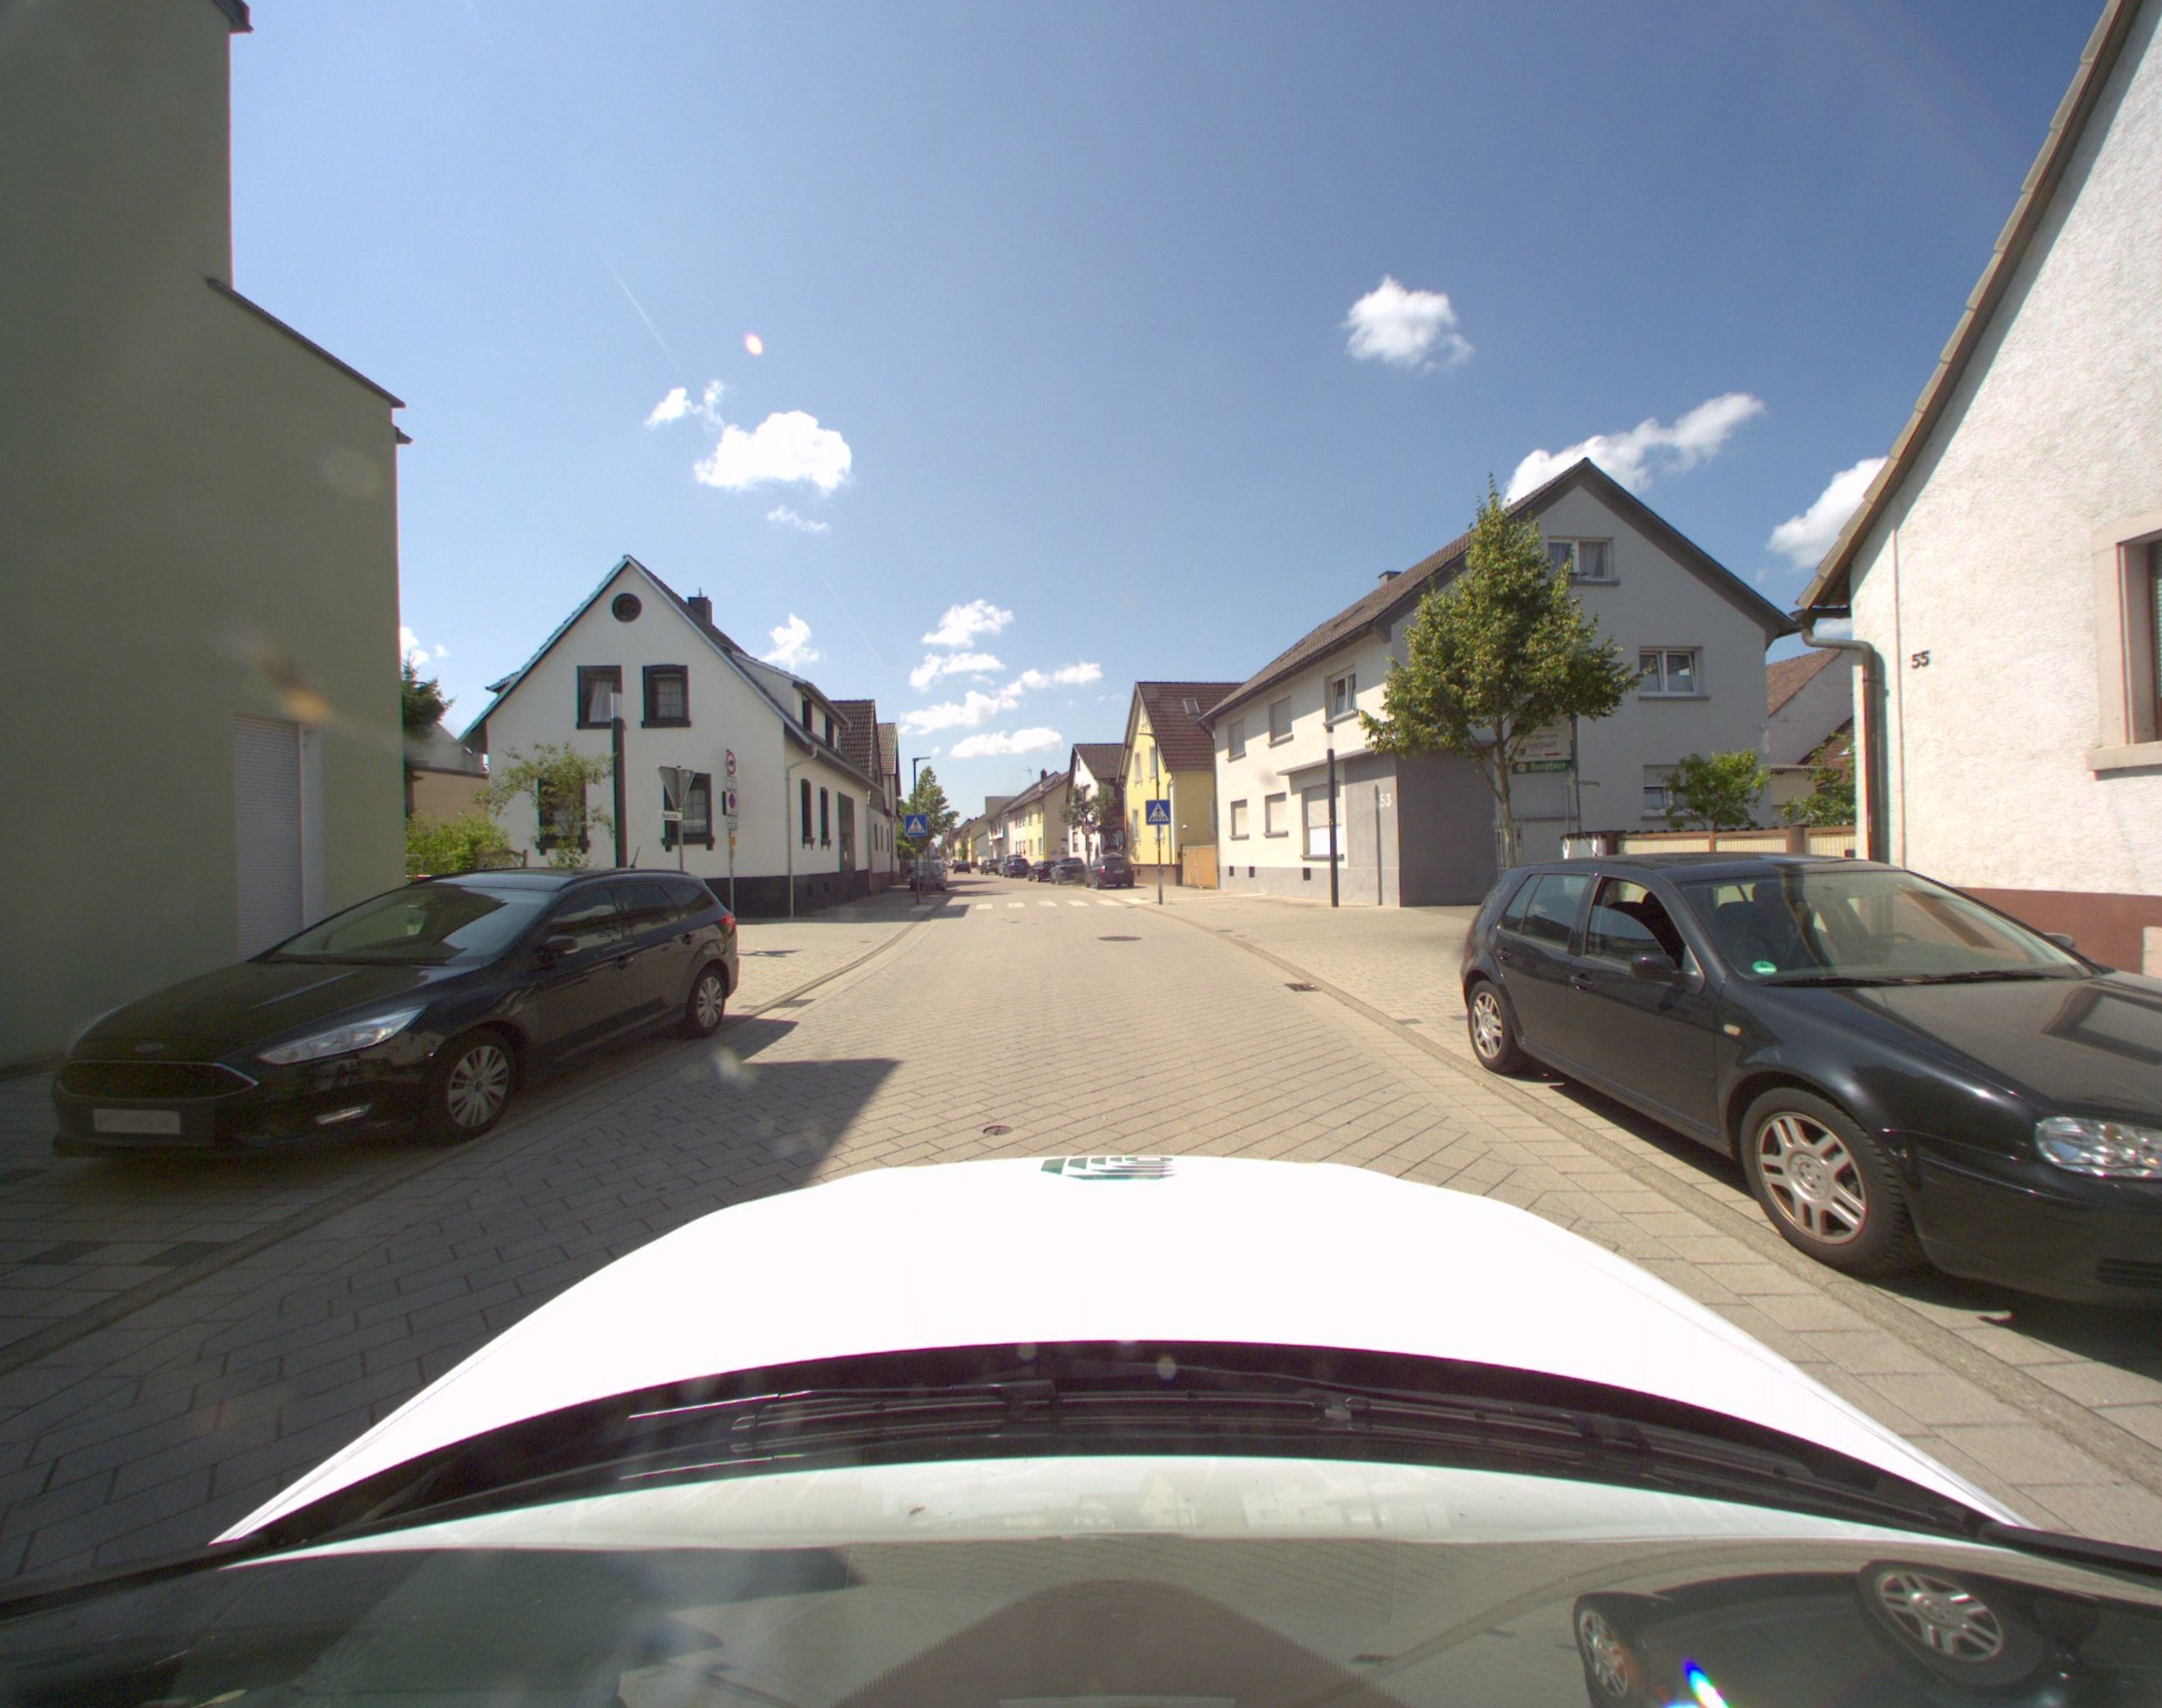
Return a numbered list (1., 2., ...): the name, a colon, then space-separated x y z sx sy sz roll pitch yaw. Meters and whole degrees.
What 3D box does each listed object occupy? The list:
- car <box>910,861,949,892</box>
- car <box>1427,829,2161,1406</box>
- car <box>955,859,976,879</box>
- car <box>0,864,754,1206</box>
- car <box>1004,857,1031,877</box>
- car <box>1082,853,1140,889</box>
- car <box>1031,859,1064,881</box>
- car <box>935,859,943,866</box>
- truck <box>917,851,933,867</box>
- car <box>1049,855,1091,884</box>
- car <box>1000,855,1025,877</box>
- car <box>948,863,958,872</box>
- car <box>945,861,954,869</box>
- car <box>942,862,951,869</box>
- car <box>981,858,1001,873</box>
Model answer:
1. car: -7.875 1.144 42.631 1.746 1.530 3.989 0 0 -7
2. car: 3.478 0.661 4.145 1.753 1.438 4.121 -3 0 2
3. car: -12.842 1.627 90.467 1.994 2.058 4.357 -2 0 -11
4. car: -4.178 0.845 5.842 1.806 1.490 4.279 0 0 2
5. car: -5.372 1.088 68.792 1.878 1.591 3.986 -2 0 -10
6. car: 1.347 0.793 38.387 1.829 1.471 4.260 -4 0 -10
7. car: -2.297 1.059 55.328 1.711 1.387 3.692 -2 0 -10
8. car: -33.860 2.036 193.604 1.689 1.452 3.776 -2 0 -13
9. truck: -39.455 1.329 205.247 3.569 3.954 8.542 -2 0 -13
10. car: -0.693 0.865 47.696 1.847 1.562 3.680 -2 0 -10
11. car: -6.268 1.056 74.260 1.907 1.871 3.986 -2 0 -10
12. car: -23.217 2.406 147.708 1.688 1.452 3.779 -2 0 -10
13. car: -26.012 2.190 161.027 1.688 1.452 3.779 -2 0 -10
14. car: -28.088 2.328 170.371 1.688 1.452 3.778 -2 0 -11
15. car: -9.183 1.168 83.084 1.754 1.493 3.986 -2 0 -10
